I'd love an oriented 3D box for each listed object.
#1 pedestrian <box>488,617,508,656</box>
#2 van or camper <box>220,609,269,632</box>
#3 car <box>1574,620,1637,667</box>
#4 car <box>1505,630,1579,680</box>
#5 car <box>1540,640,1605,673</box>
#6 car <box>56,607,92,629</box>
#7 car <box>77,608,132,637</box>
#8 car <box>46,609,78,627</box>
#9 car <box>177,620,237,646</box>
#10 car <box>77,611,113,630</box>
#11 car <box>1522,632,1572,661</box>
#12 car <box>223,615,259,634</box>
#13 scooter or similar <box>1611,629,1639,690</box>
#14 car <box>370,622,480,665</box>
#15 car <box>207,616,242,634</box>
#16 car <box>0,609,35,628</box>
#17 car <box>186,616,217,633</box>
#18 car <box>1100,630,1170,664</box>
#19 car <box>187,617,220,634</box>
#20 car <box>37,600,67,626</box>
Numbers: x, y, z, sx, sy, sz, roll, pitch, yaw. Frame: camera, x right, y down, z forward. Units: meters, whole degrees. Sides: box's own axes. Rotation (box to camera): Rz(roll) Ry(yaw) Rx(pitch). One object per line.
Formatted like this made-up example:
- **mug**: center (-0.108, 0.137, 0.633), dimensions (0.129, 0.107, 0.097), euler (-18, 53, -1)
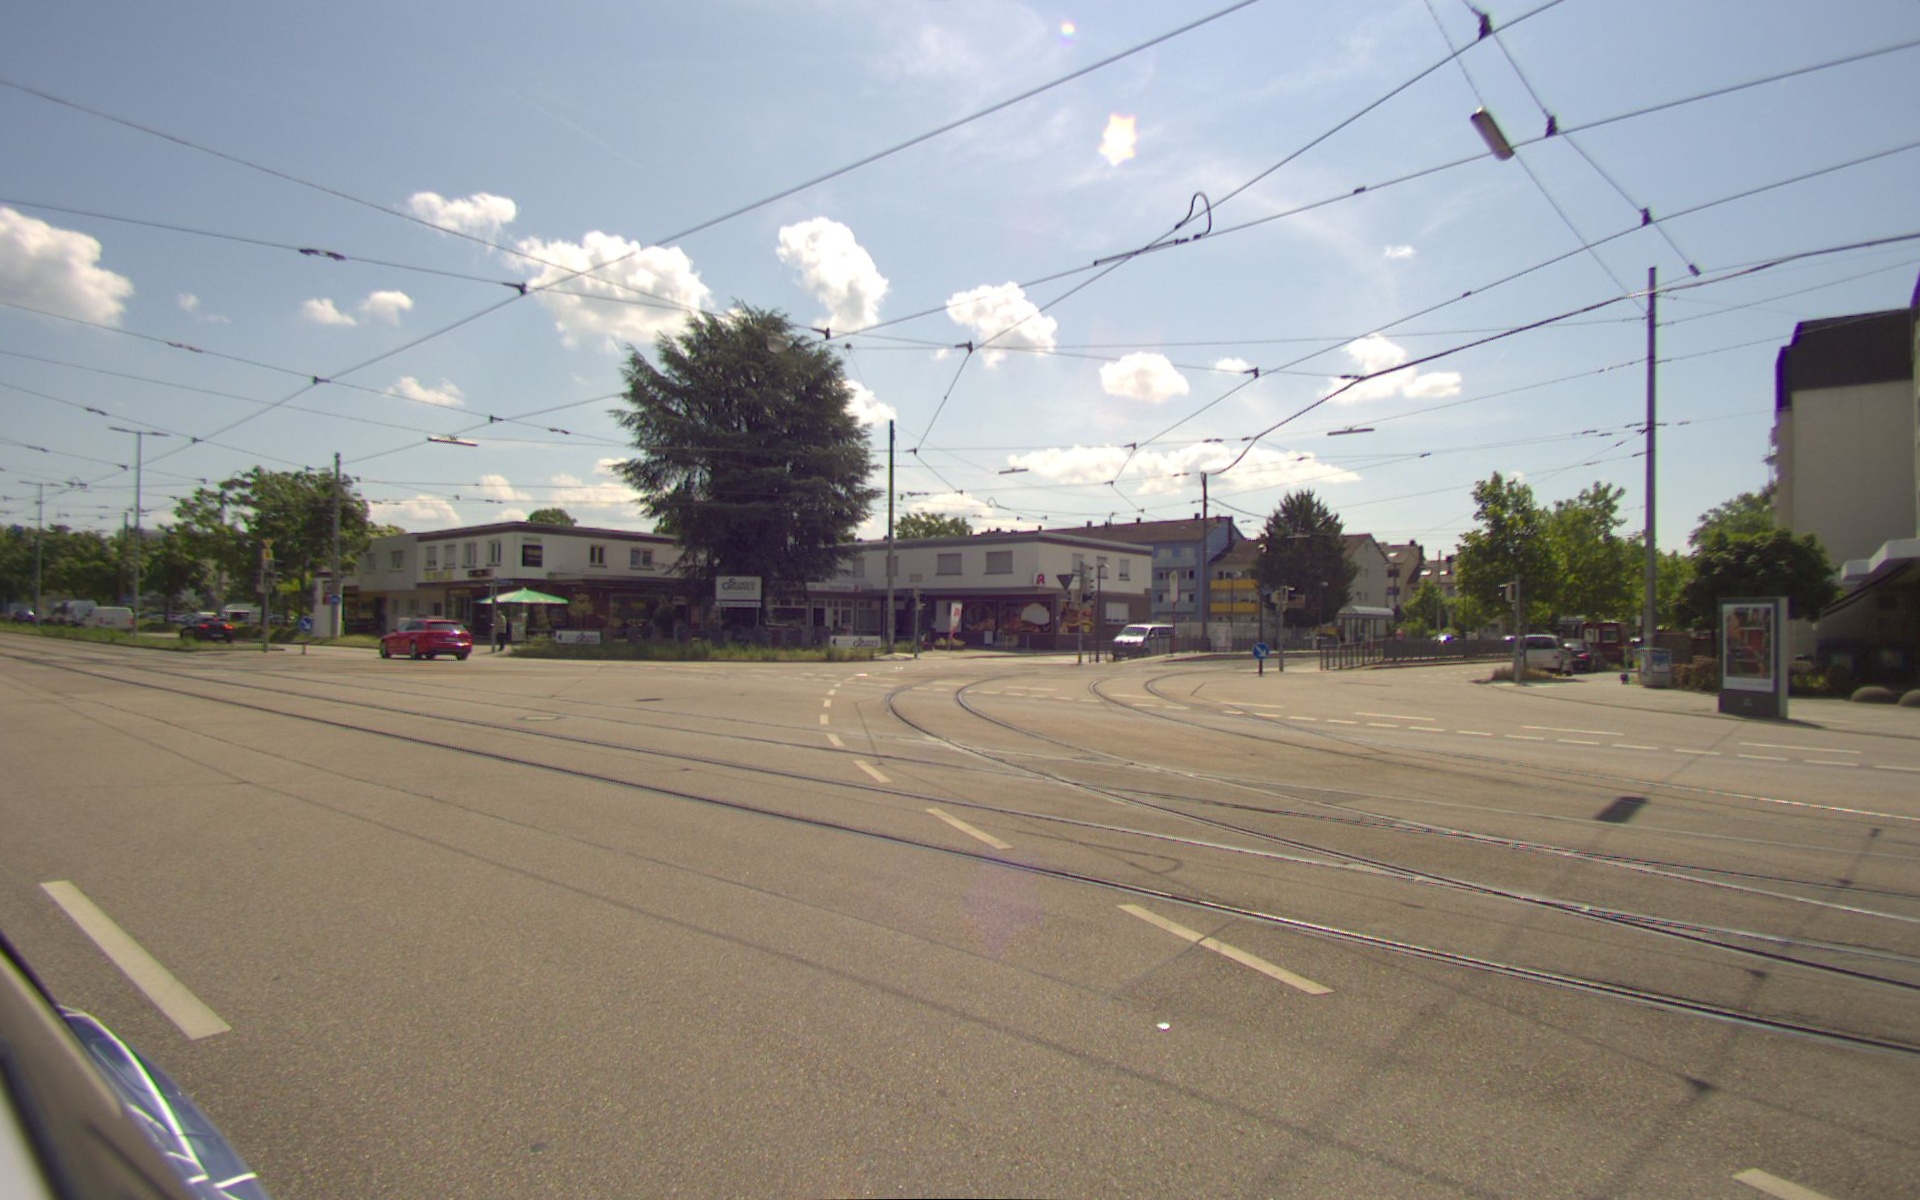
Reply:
- **pedestrian**: center (-21.711, 1.709, 47.567), dimensions (0.679, 1.788, 0.485), euler (0, 3, 21)
- **van or camper**: center (-100.776, 2.875, 142.556), dimensions (2.245, 3.141, 5.092), euler (-1, -3, 40)
- **car**: center (34.207, 2.286, 53.583), dimensions (2.214, 2.356, 5.150), euler (-1, -3, 40)
- **car**: center (23.303, 2.178, 40.441), dimensions (1.997, 1.853, 4.761), euler (-1, -3, 37)
- **car**: center (27.369, 2.493, 45.155), dimensions (1.997, 1.342, 4.761), euler (0, -2, 37)
- **car**: center (-84.286, 1.694, 96.279), dimensions (3.996, 1.980, 1.942), euler (-1, -3, 39)
- **car**: center (-58.153, 1.517, 68.764), dimensions (4.547, 1.890, 1.841), euler (-1, -3, 37)
- **car**: center (-89.639, 1.813, 101.025), dimensions (3.996, 1.706, 1.723), euler (-1, -2, 39)
- **car**: center (-41.758, 1.839, 56.103), dimensions (3.996, 1.364, 1.762), euler (-1, -2, 40)
- **car**: center (-78.977, 1.871, 92.391), dimensions (3.996, 1.608, 1.723), euler (-1, -3, 39)
- **car**: center (35.913, 2.802, 61.830), dimensions (1.997, 1.618, 4.759), euler (0, -1, 38)
- **car**: center (-66.982, 2.278, 94.247), dimensions (3.996, 1.706, 1.723), euler (-1, -3, 39)
- **scooter or similar**: center (21.076, 1.858, 32.055), dimensions (0.616, 1.860, 1.988), euler (-1, -2, 37)
- **car**: center (-19.832, 1.587, 37.440), dimensions (4.819, 1.461, 1.972), euler (-1, -3, 41)
- **car**: center (-70.901, 2.414, 97.496), dimensions (3.996, 1.706, 1.723), euler (-1, -3, 39)
- **car**: center (-85.818, 1.687, 92.139), dimensions (3.996, 1.608, 1.723), euler (-1, -3, 39)
- **car**: center (-80.363, 2.594, 107.193), dimensions (3.996, 1.706, 1.723), euler (-1, -2, 39)
- **car**: center (9.424, 2.538, 54.397), dimensions (1.998, 1.741, 3.947), euler (-1, -3, 40)
- **car**: center (-76.977, 2.571, 102.975), dimensions (3.996, 1.706, 1.723), euler (-1, -3, 39)
- **car**: center (-95.274, 1.352, 106.193), dimensions (3.996, 2.608, 1.723), euler (-1, -3, 39)
